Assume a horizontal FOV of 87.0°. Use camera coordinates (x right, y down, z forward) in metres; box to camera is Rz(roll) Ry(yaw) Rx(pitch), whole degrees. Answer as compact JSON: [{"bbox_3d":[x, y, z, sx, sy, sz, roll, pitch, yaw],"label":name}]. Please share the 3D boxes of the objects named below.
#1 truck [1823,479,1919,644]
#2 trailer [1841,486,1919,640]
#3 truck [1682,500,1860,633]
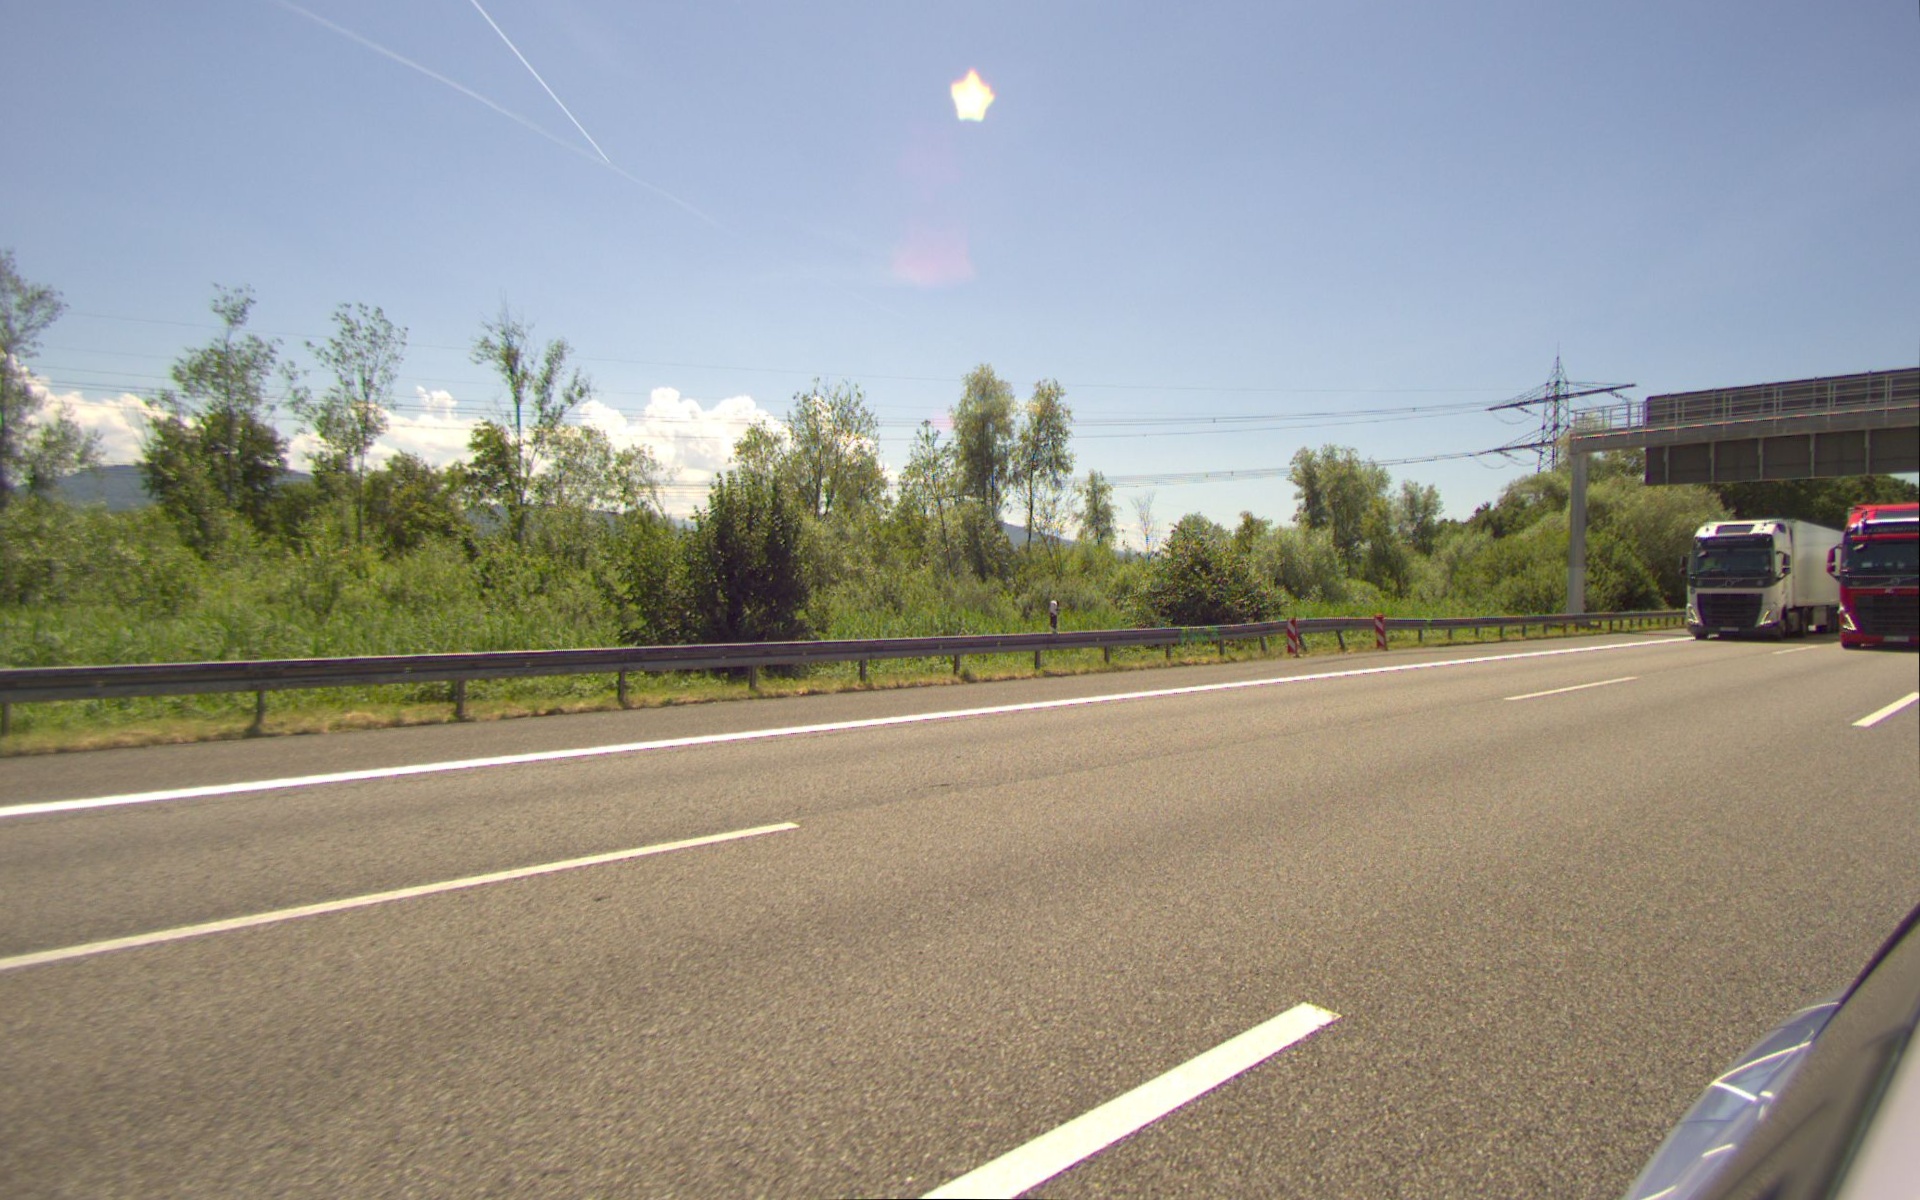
[{"bbox_3d":[25.424,-0.976,26.942,5.997,4.036,2.945,-1,0,-42],"label":"truck"},{"bbox_3d":[31.308,-1.070,32.263,15.922,4.068,2.942,-1,0,-42],"label":"trailer"},{"bbox_3d":[29.159,-1.100,36.116,10.785,4.144,3.031,-1,0,-41],"label":"truck"}]
